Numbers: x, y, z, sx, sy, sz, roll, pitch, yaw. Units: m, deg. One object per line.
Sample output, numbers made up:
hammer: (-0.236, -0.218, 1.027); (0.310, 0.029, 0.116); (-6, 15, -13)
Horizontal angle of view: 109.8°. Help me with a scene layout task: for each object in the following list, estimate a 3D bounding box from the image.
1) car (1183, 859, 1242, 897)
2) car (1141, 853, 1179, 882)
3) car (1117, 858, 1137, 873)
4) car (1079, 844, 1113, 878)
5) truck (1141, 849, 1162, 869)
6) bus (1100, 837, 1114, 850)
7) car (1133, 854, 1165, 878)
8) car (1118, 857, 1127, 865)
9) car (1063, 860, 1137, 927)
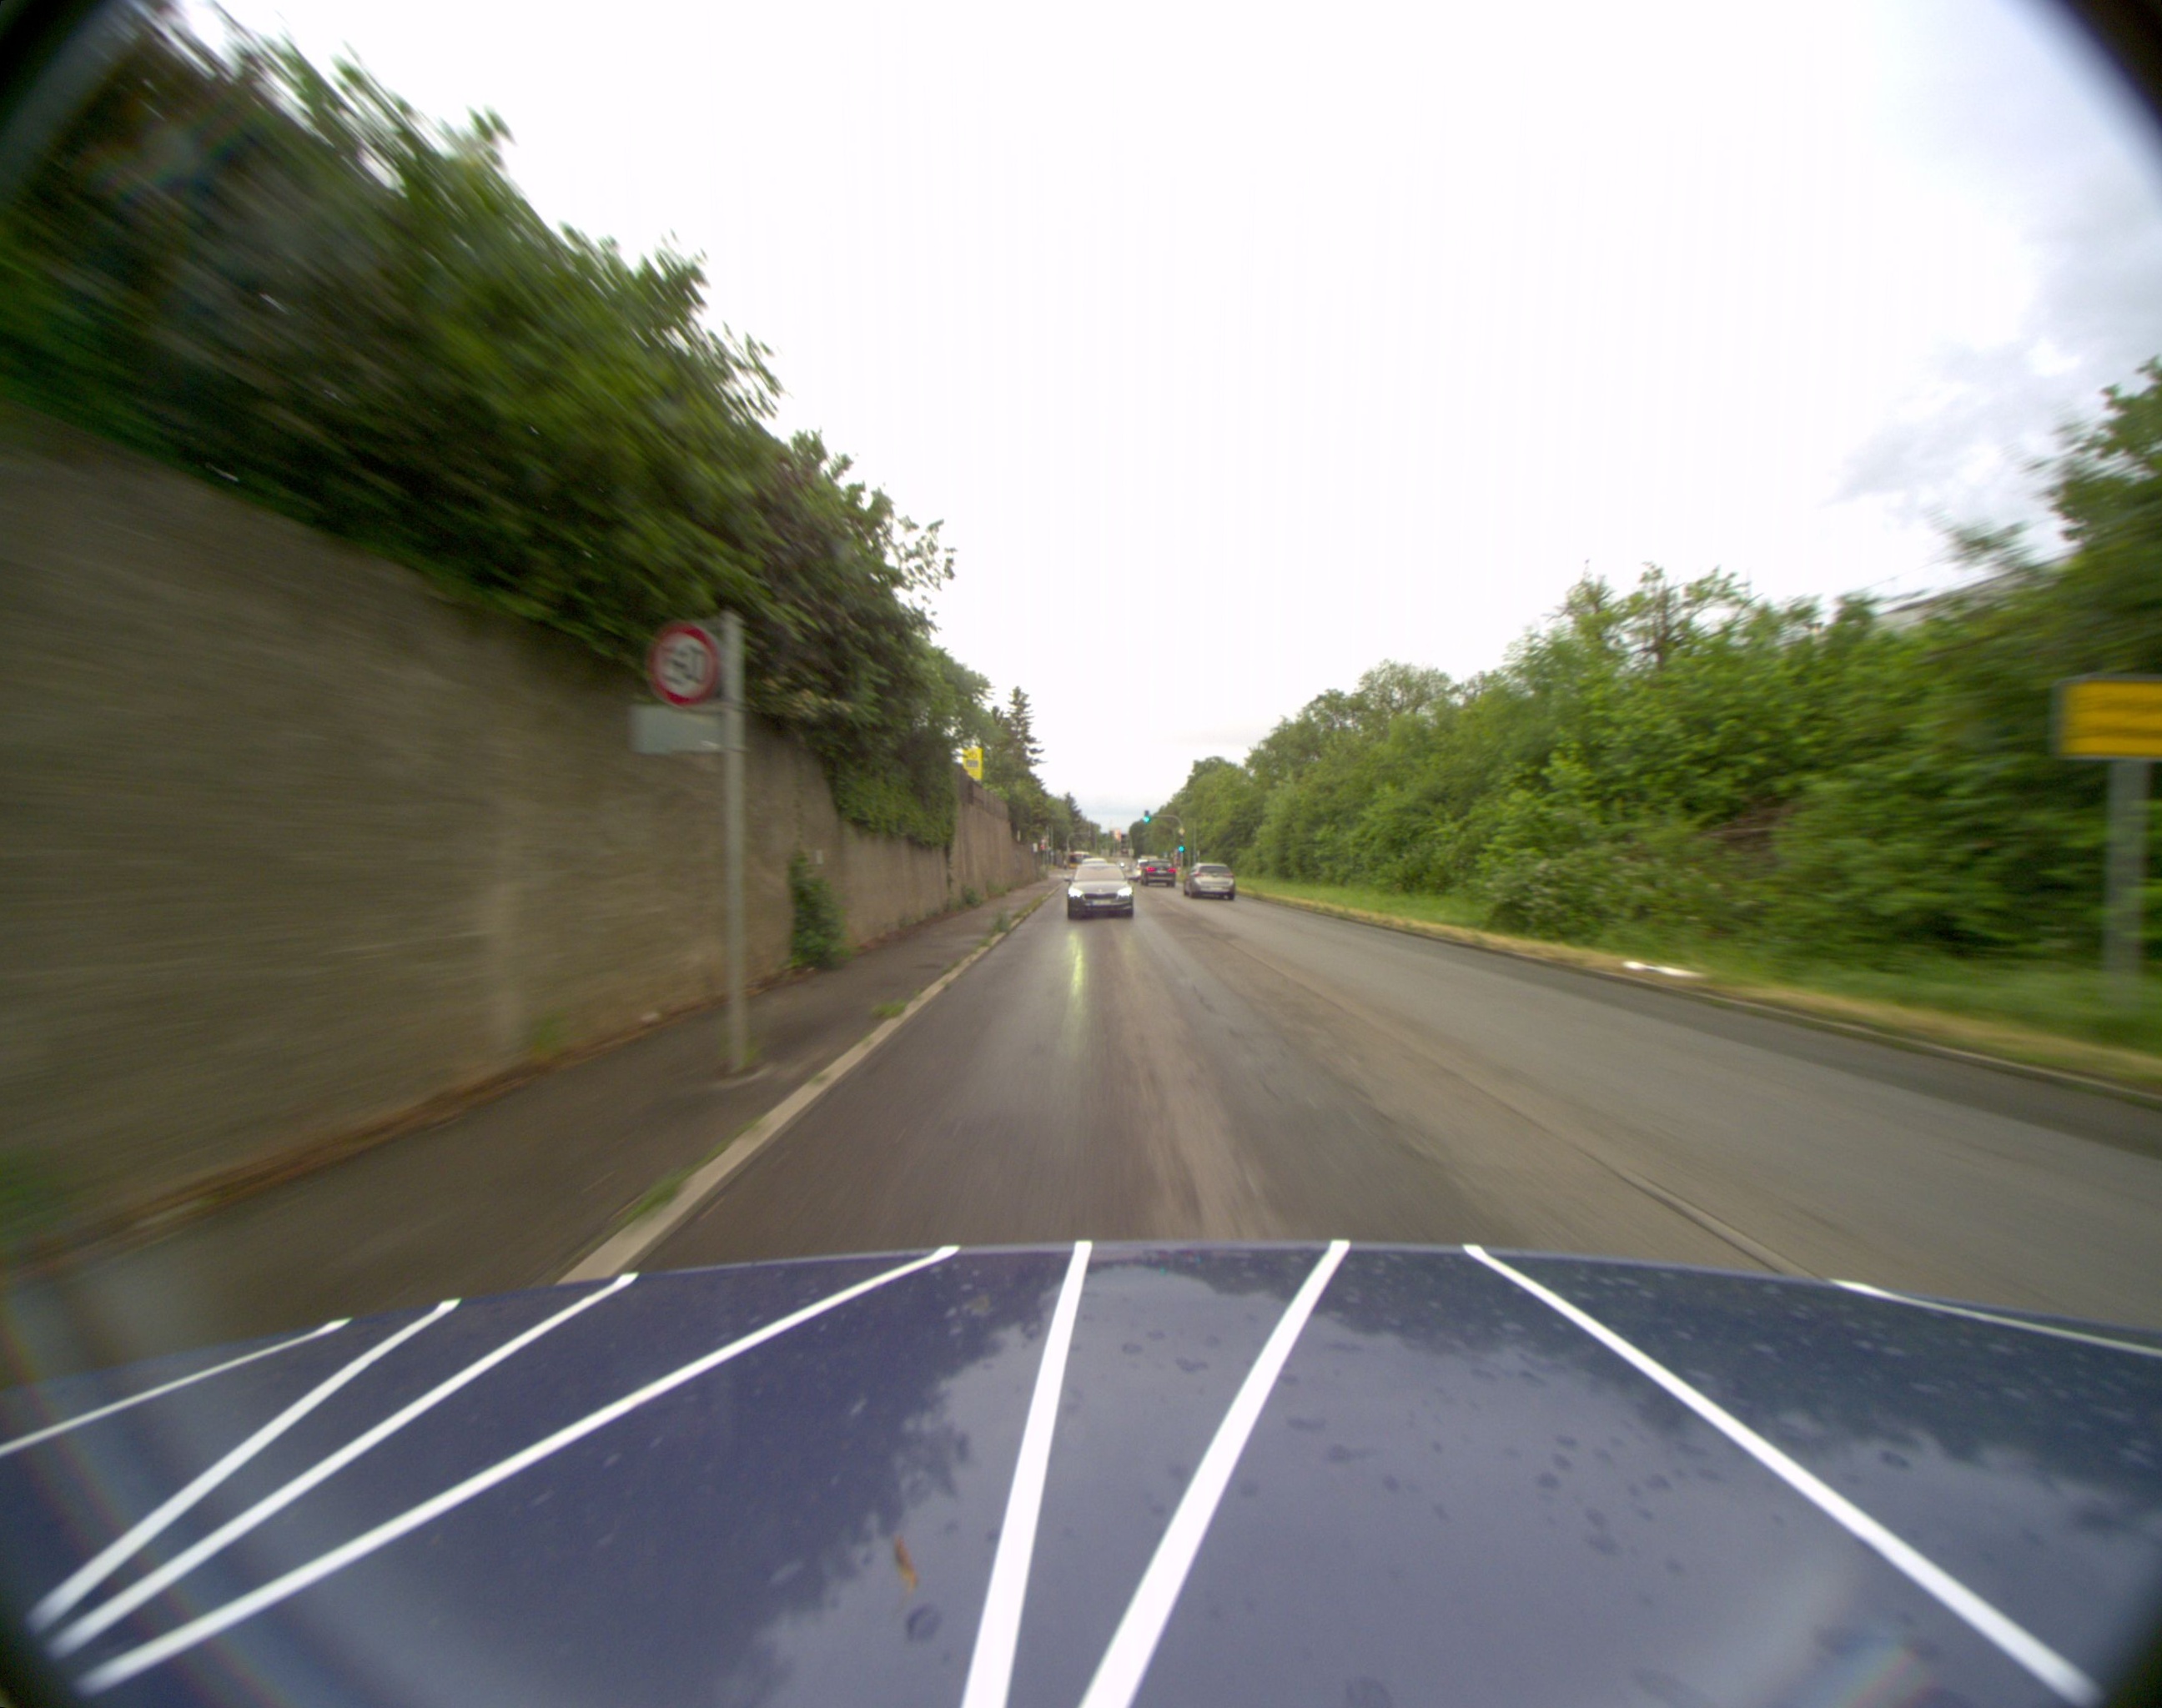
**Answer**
car: (5.363, 0.934, 31.537); (1.806, 1.423, 4.178); (1, 0, 1)
car: (4.642, 0.771, 44.998); (1.737, 1.584, 4.281); (1, 0, -1)
car: (4.900, 1.187, 80.905); (1.931, 1.470, 4.000); (1, 0, 1)
car: (0.775, 0.339, 41.158); (1.704, 1.724, 3.999); (-1, 1, 0)
truck: (8.986, 0.621, 97.141); (2.479, 2.494, 5.639); (1, 0, 5)
bus: (7.054, -2.780, 204.895); (3.175, 3.241, 8.215); (1, 0, 7)
car: (4.838, 0.800, 54.337); (1.899, 1.625, 4.270); (1, 0, 0)
car: (9.829, 1.604, 180.419); (1.998, 1.812, 4.487); (1, 0, 5)
car: (0.489, 0.948, 20.153); (1.675, 1.477, 4.215); (-3, 0, 1)
